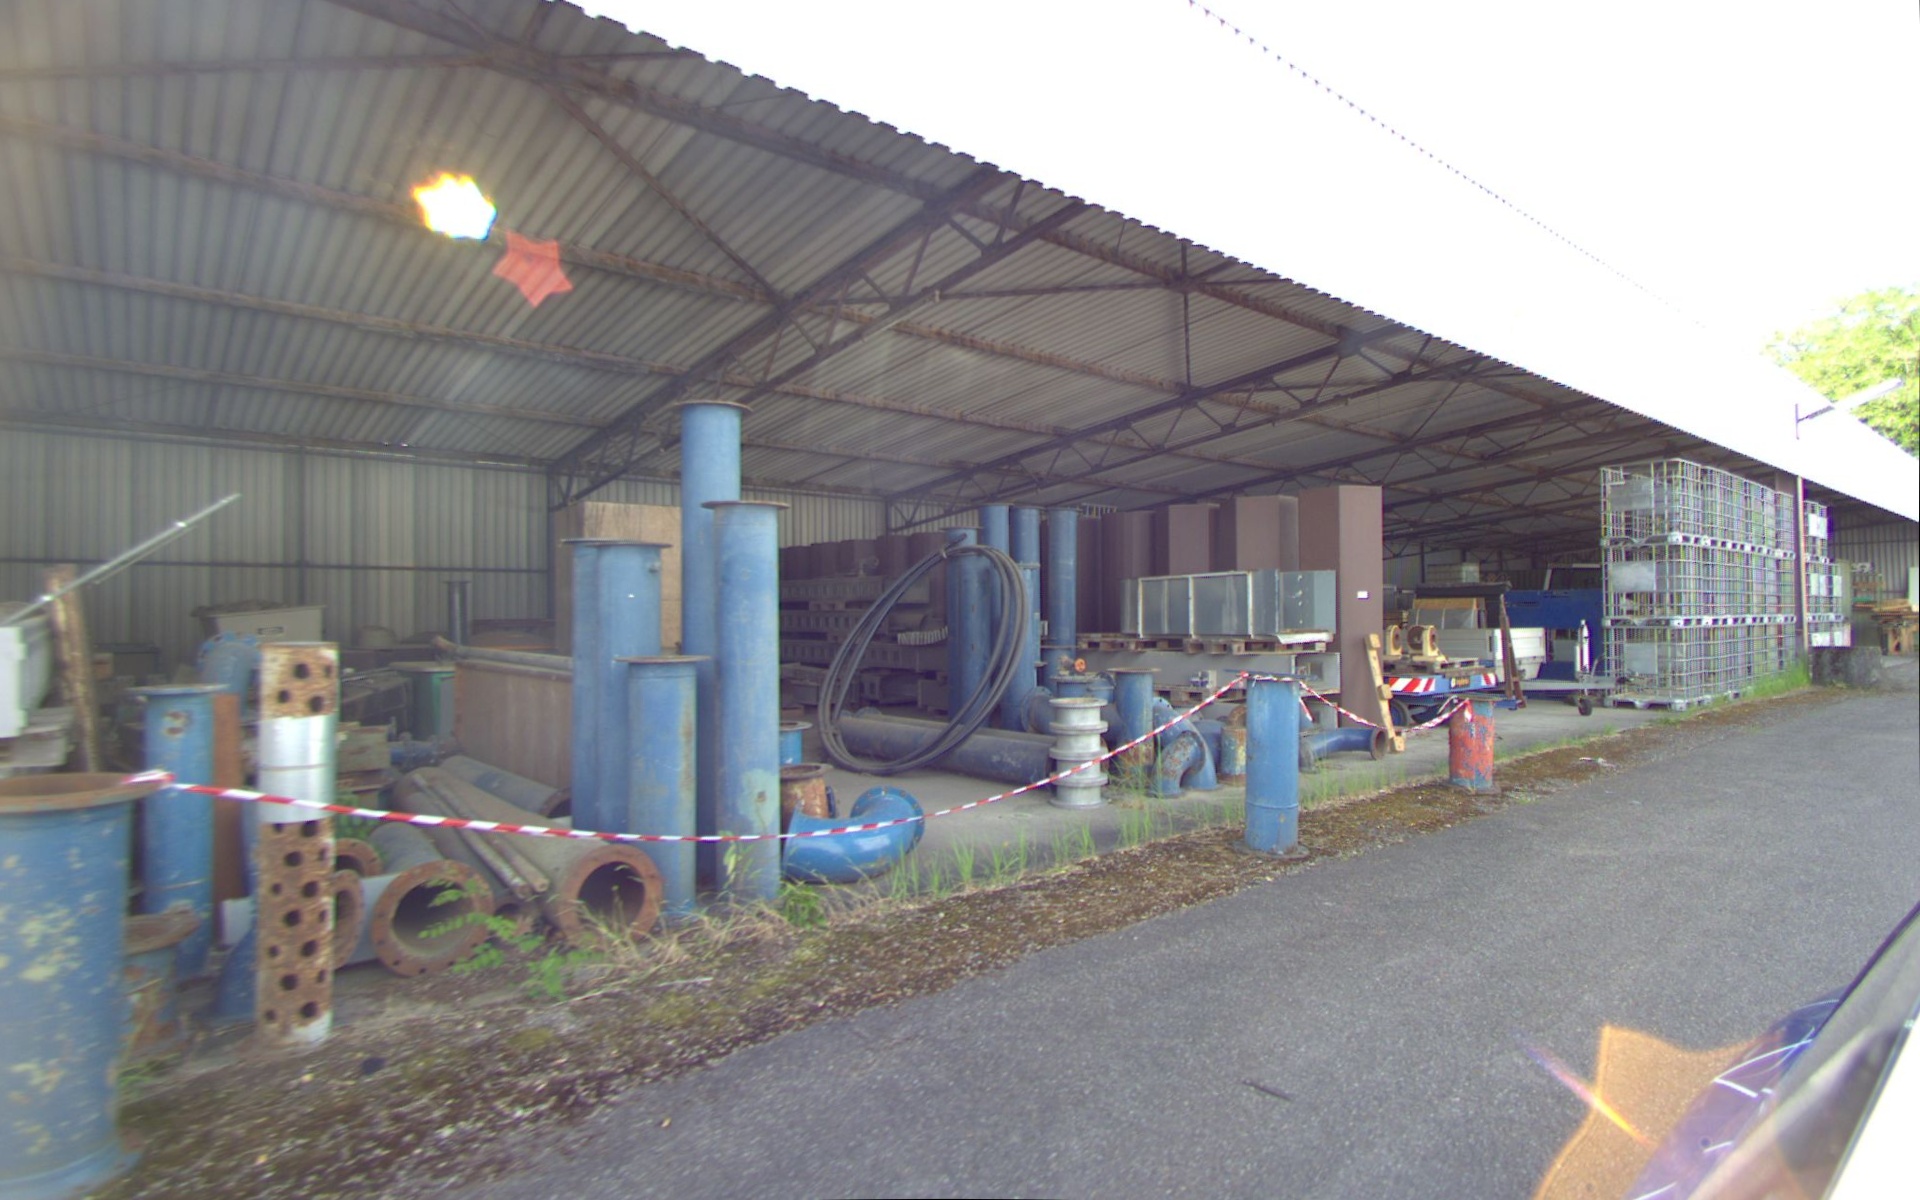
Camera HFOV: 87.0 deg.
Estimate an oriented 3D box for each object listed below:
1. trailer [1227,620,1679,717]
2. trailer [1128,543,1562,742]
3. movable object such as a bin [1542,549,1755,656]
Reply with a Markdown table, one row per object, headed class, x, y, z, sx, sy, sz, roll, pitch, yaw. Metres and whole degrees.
| class | x | y | z | sx | sy | sz | roll | pitch | yaw |
| --- | --- | --- | --- | --- | --- | --- | --- | --- | --- |
| trailer | 6.992 | 0.895 | 15.068 | 1.974 | 1.148 | 5.742 | 0 | -1 | -41 |
| trailer | 4.592 | 0.438 | 12.838 | 2.009 | 2.022 | 4.830 | 0 | 0 | -37 |
| movable object such as a bin | 19.270 | 0.096 | 28.505 | 1.965 | 2.757 | 4.621 | 2 | -2 | -41 |
